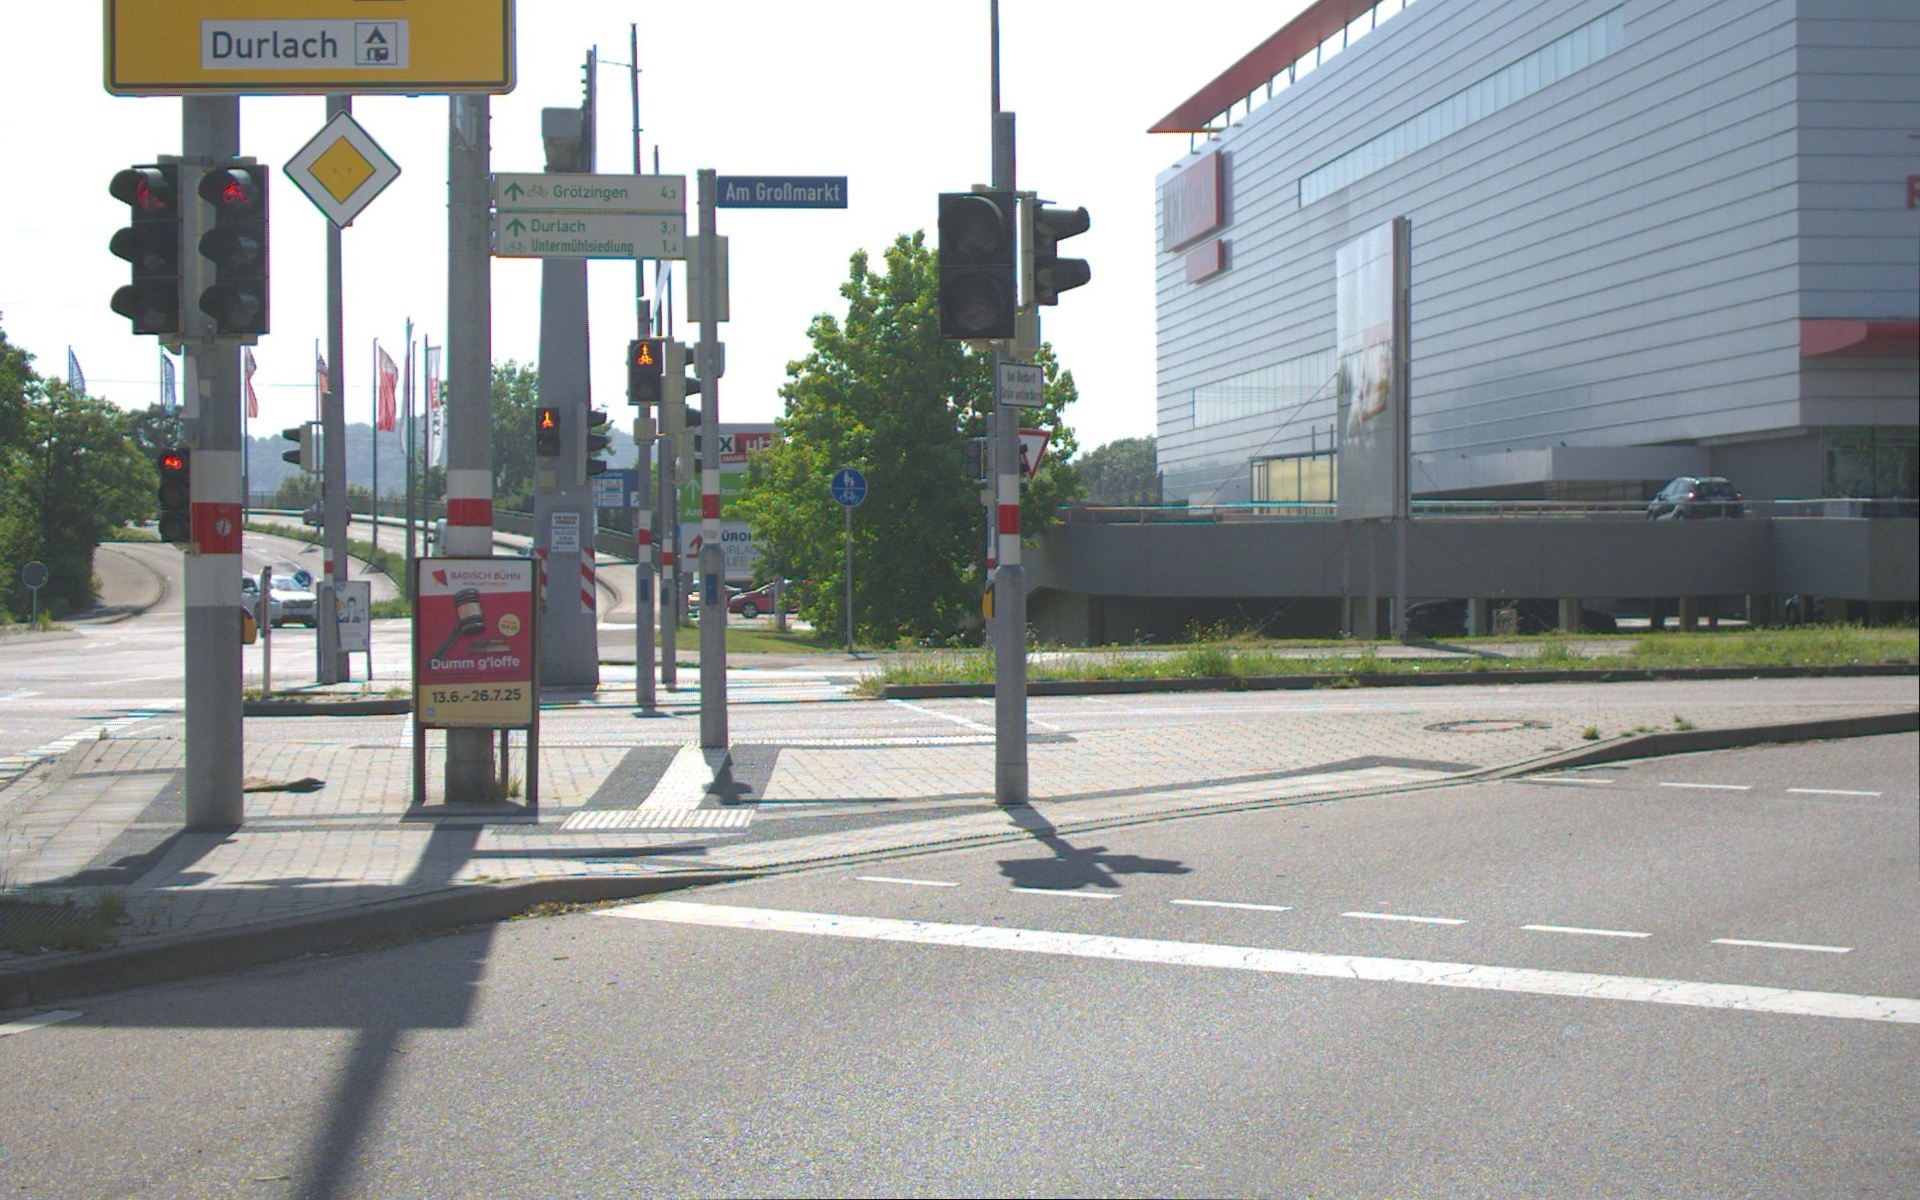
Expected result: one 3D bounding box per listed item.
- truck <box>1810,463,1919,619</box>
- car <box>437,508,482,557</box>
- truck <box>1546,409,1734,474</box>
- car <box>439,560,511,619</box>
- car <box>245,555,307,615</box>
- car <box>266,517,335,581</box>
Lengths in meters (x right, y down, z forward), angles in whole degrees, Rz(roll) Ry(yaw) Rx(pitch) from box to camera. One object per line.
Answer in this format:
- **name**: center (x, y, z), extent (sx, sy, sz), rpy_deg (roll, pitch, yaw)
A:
- **truck**: center (16.325, -0.902, 54.868), extent (4.880, 2.415, 2.001), rpy_deg (2, 2, -5)
- **car**: center (-24.852, -3.353, 170.797), extent (1.993, 2.313, 4.001), rpy_deg (2, 2, -6)
- **truck**: center (23.249, -5.409, 117.631), extent (5.908, 2.006, 2.001), rpy_deg (2, 2, -6)
- **car**: center (-12.592, -0.299, 89.418), extent (1.688, 1.354, 4.001), rpy_deg (2, 2, -6)
- **car**: center (-21.154, -0.471, 106.478), extent (1.759, 1.787, 3.348), rpy_deg (-1, 1, -9)
- **car**: center (-22.142, -1.728, 115.570), extent (1.993, 2.006, 3.982), rpy_deg (2, 2, -7)
